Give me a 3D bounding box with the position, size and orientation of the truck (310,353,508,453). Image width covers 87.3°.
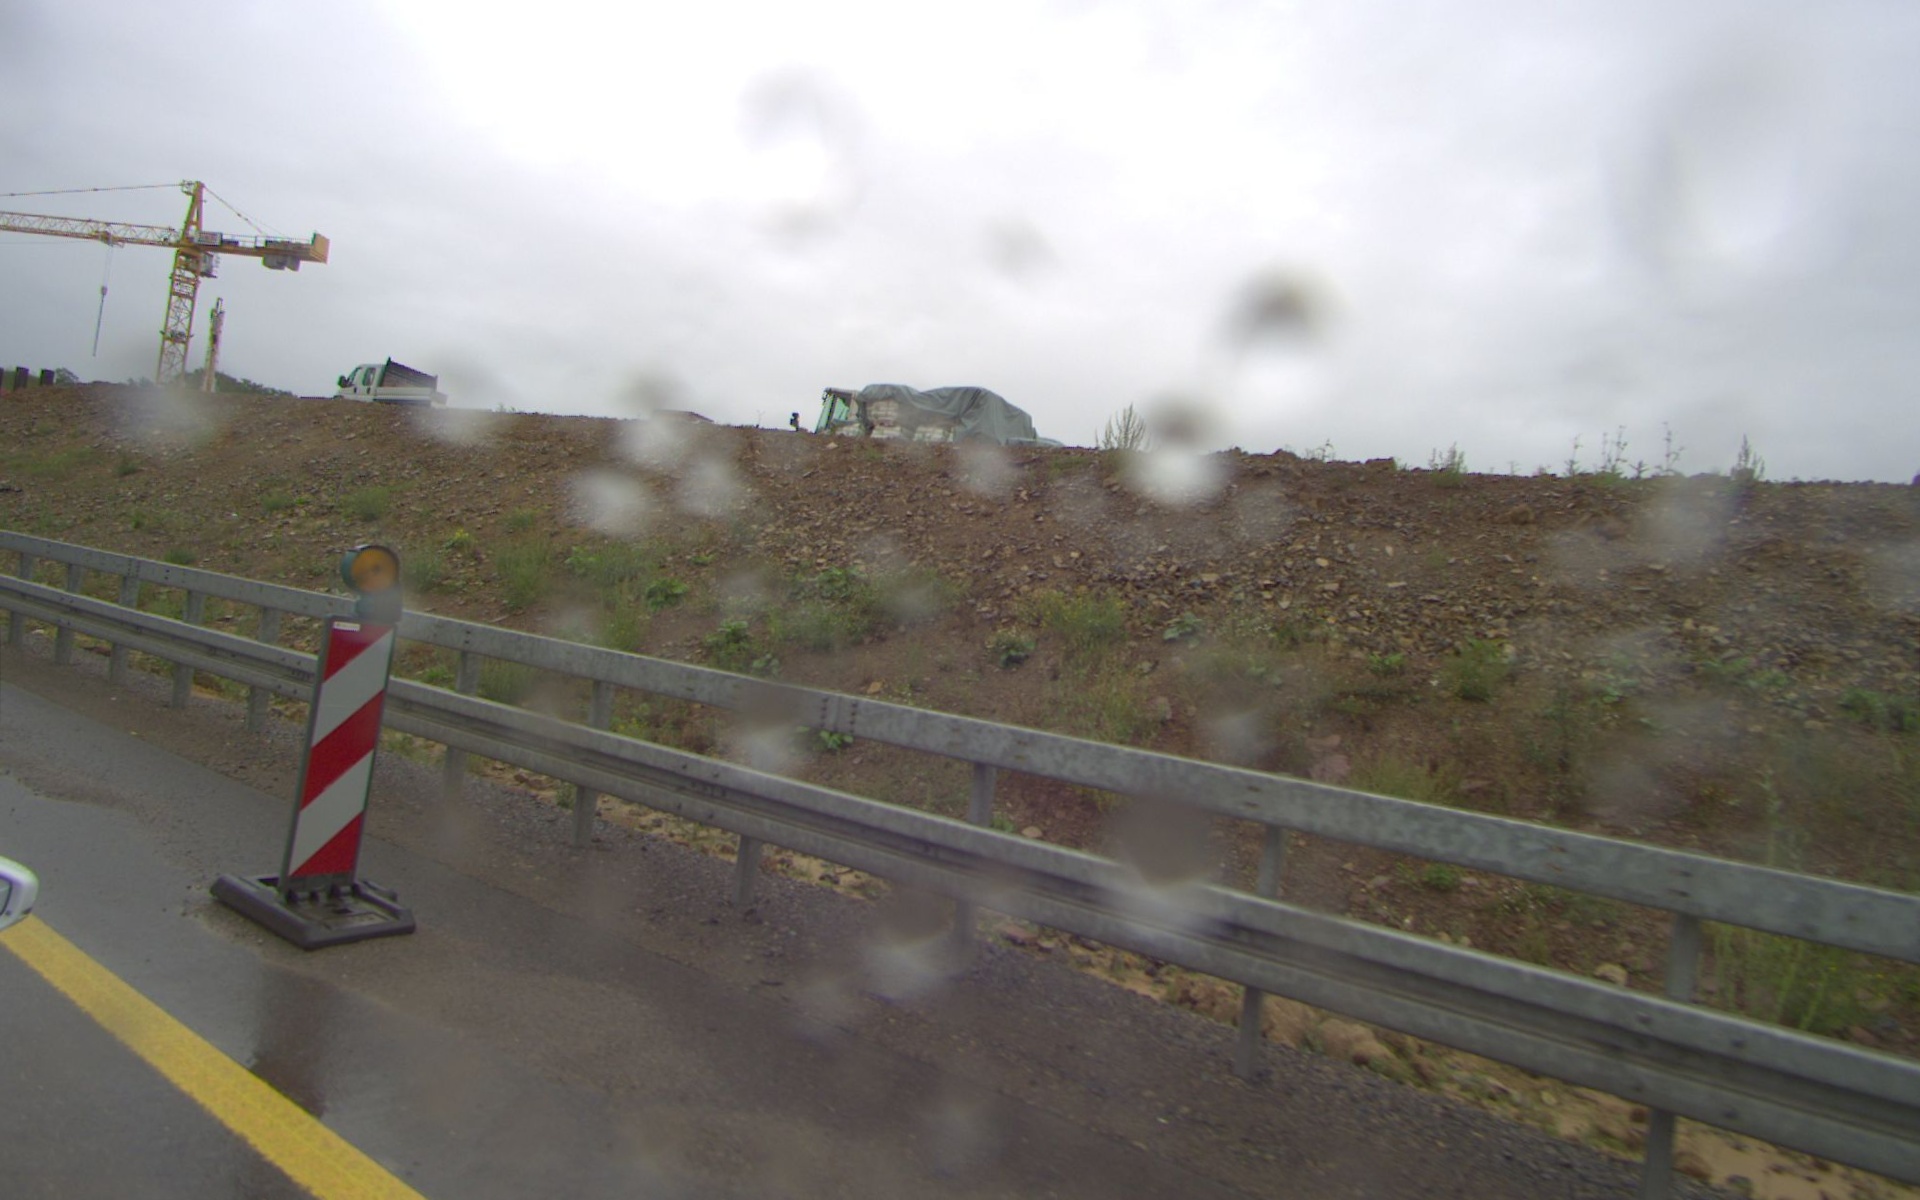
[{"bbox_3d":[-18.880,-6.600,34.342,6.868,2.584,2.650,5,-2,31],"label":"truck"}]

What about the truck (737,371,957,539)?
[{"bbox_3d":[-3.416,-4.233,29.876,5.880,4.268,2.377,5,-1,31],"label":"truck"}]

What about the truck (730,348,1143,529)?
[{"bbox_3d":[-0.748,-3.488,22.876,8.816,2.908,3.400,5,-2,34],"label":"truck"}]

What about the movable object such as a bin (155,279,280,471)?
[{"bbox_3d":[-51.298,-14.989,69.347,4.705,10.969,10.178,7,-2,-44],"label":"movable object such as a bin"}]
